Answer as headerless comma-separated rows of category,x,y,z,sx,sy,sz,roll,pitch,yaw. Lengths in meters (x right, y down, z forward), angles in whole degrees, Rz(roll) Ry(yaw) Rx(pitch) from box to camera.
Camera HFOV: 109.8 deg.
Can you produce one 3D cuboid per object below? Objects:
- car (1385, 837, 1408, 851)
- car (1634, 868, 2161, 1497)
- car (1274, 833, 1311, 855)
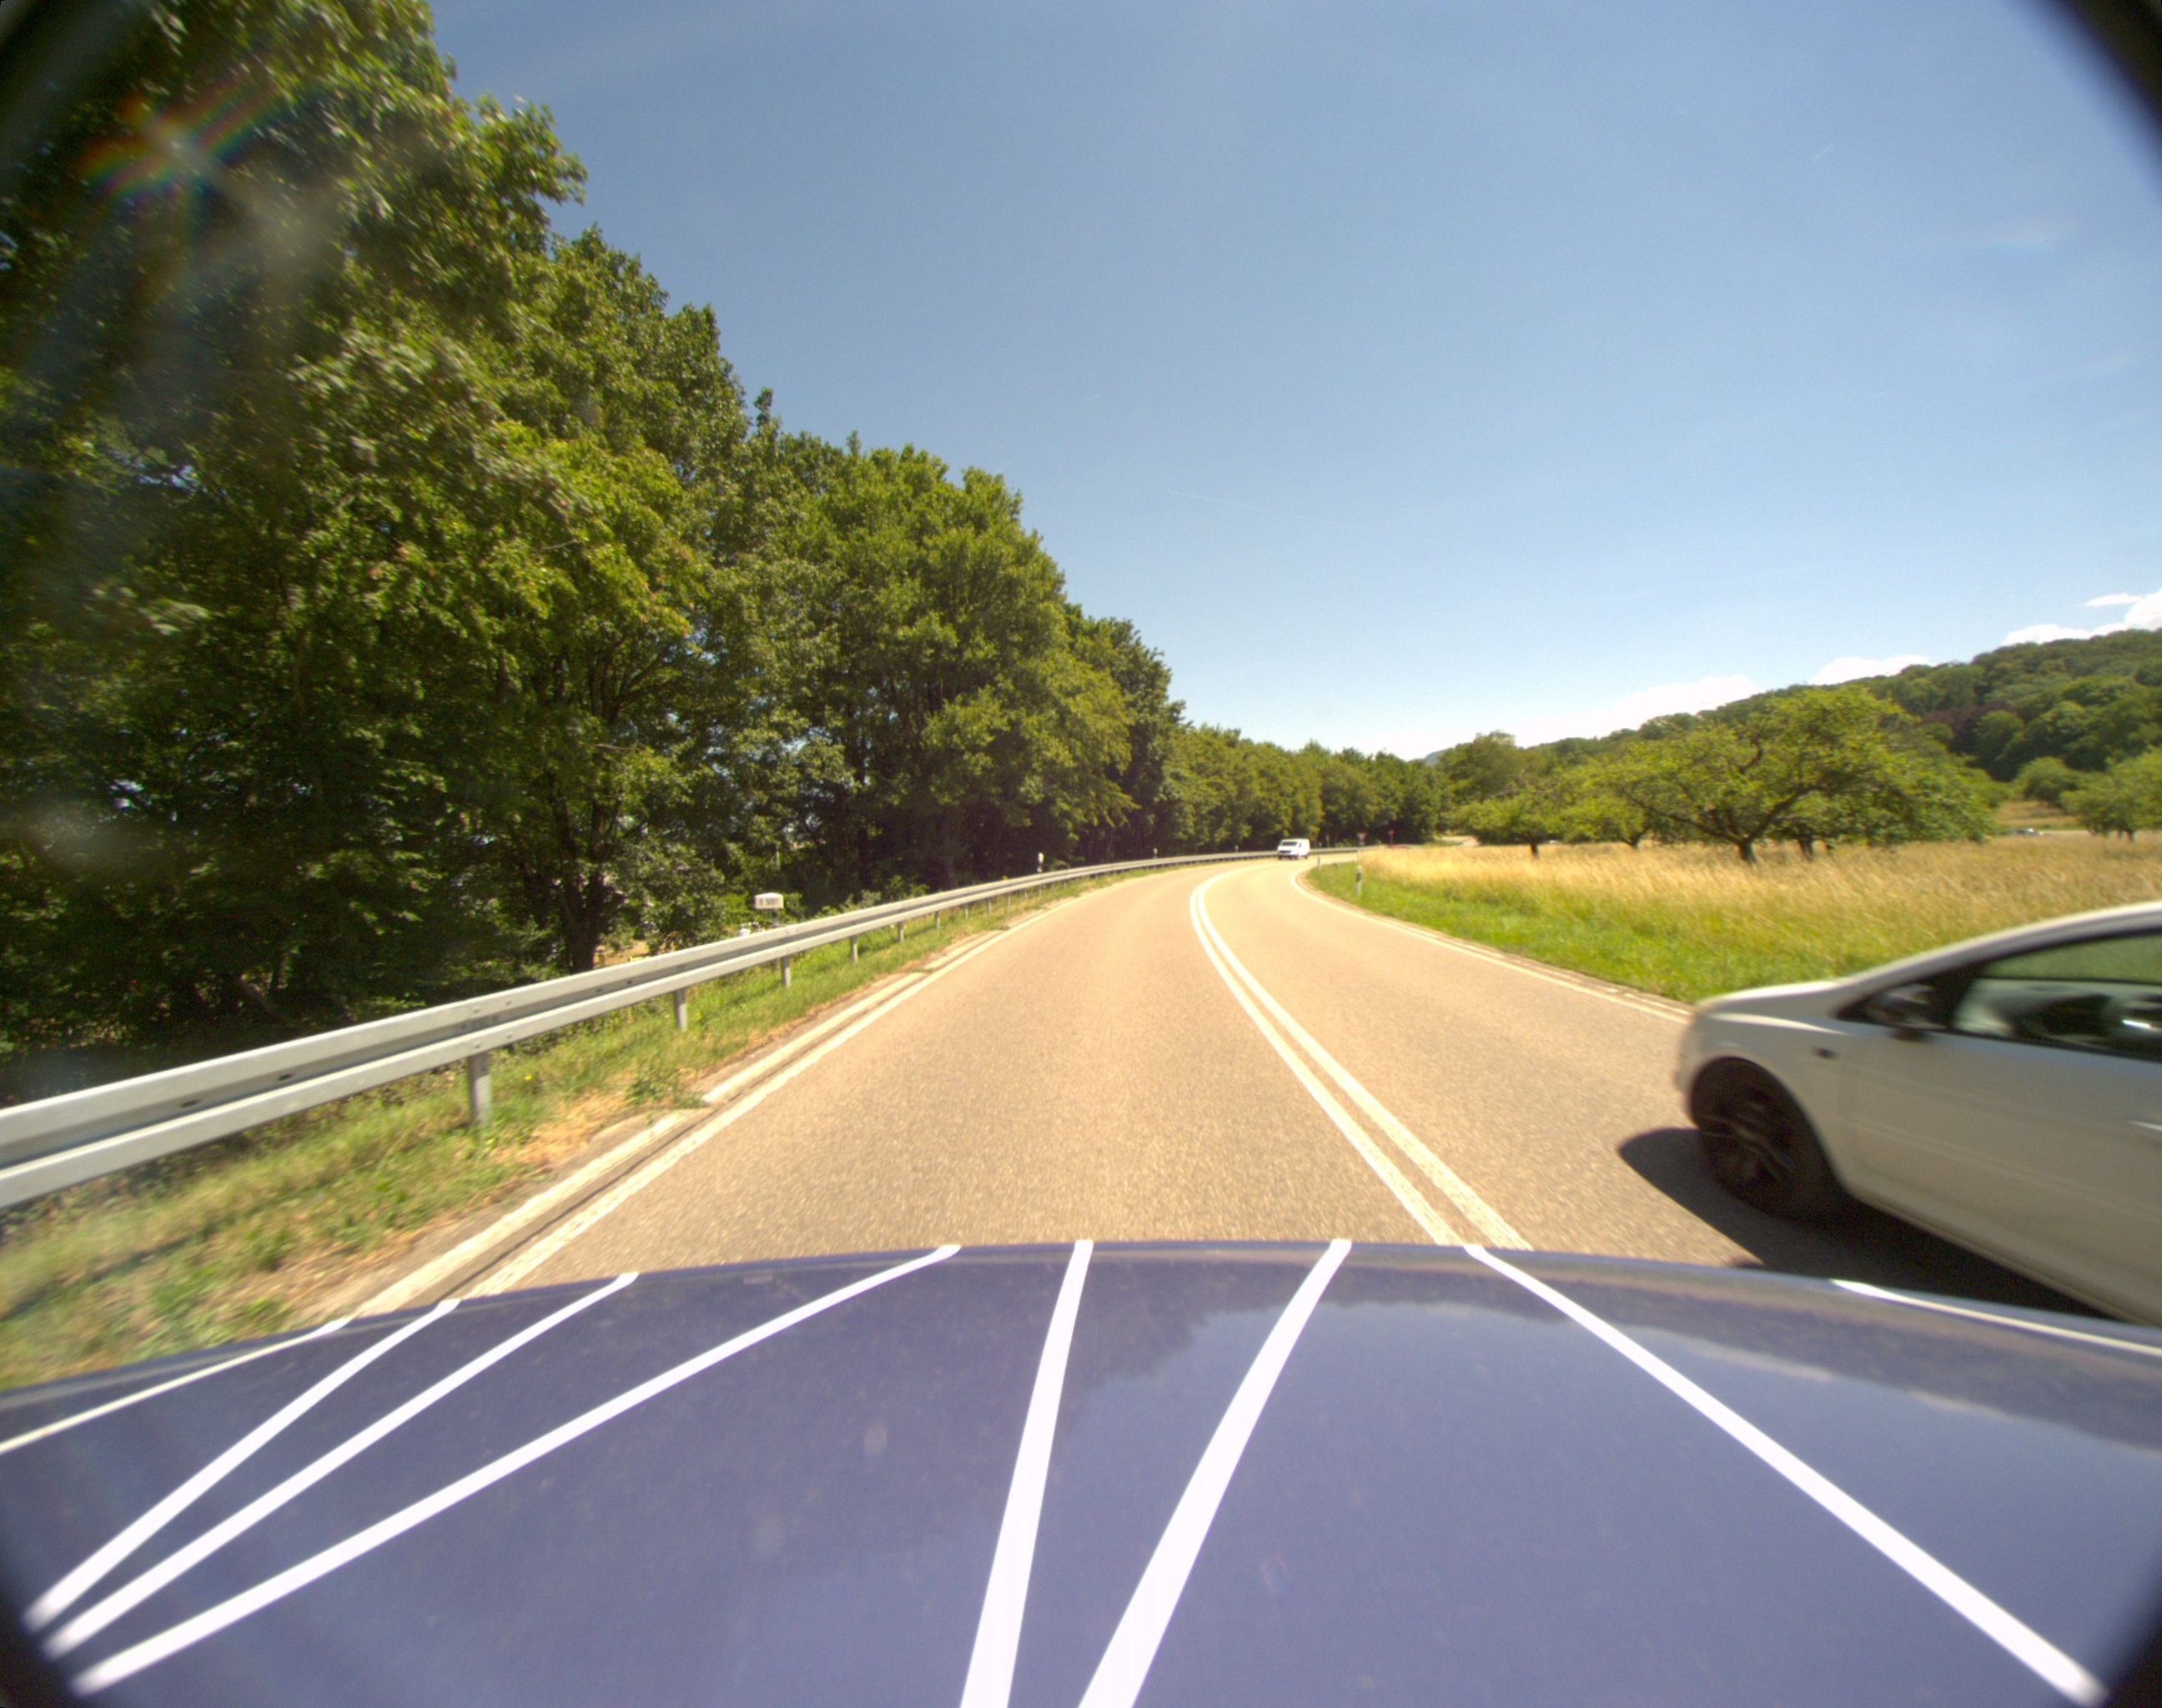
car,37.957,-1.210,91.245,1.822,1.450,4.407,4,4,32
car,3.550,0.833,1.611,1.826,1.498,4.173,1,0,3
car,20.892,-0.996,74.976,2.220,2.021,5.436,-2,1,30
